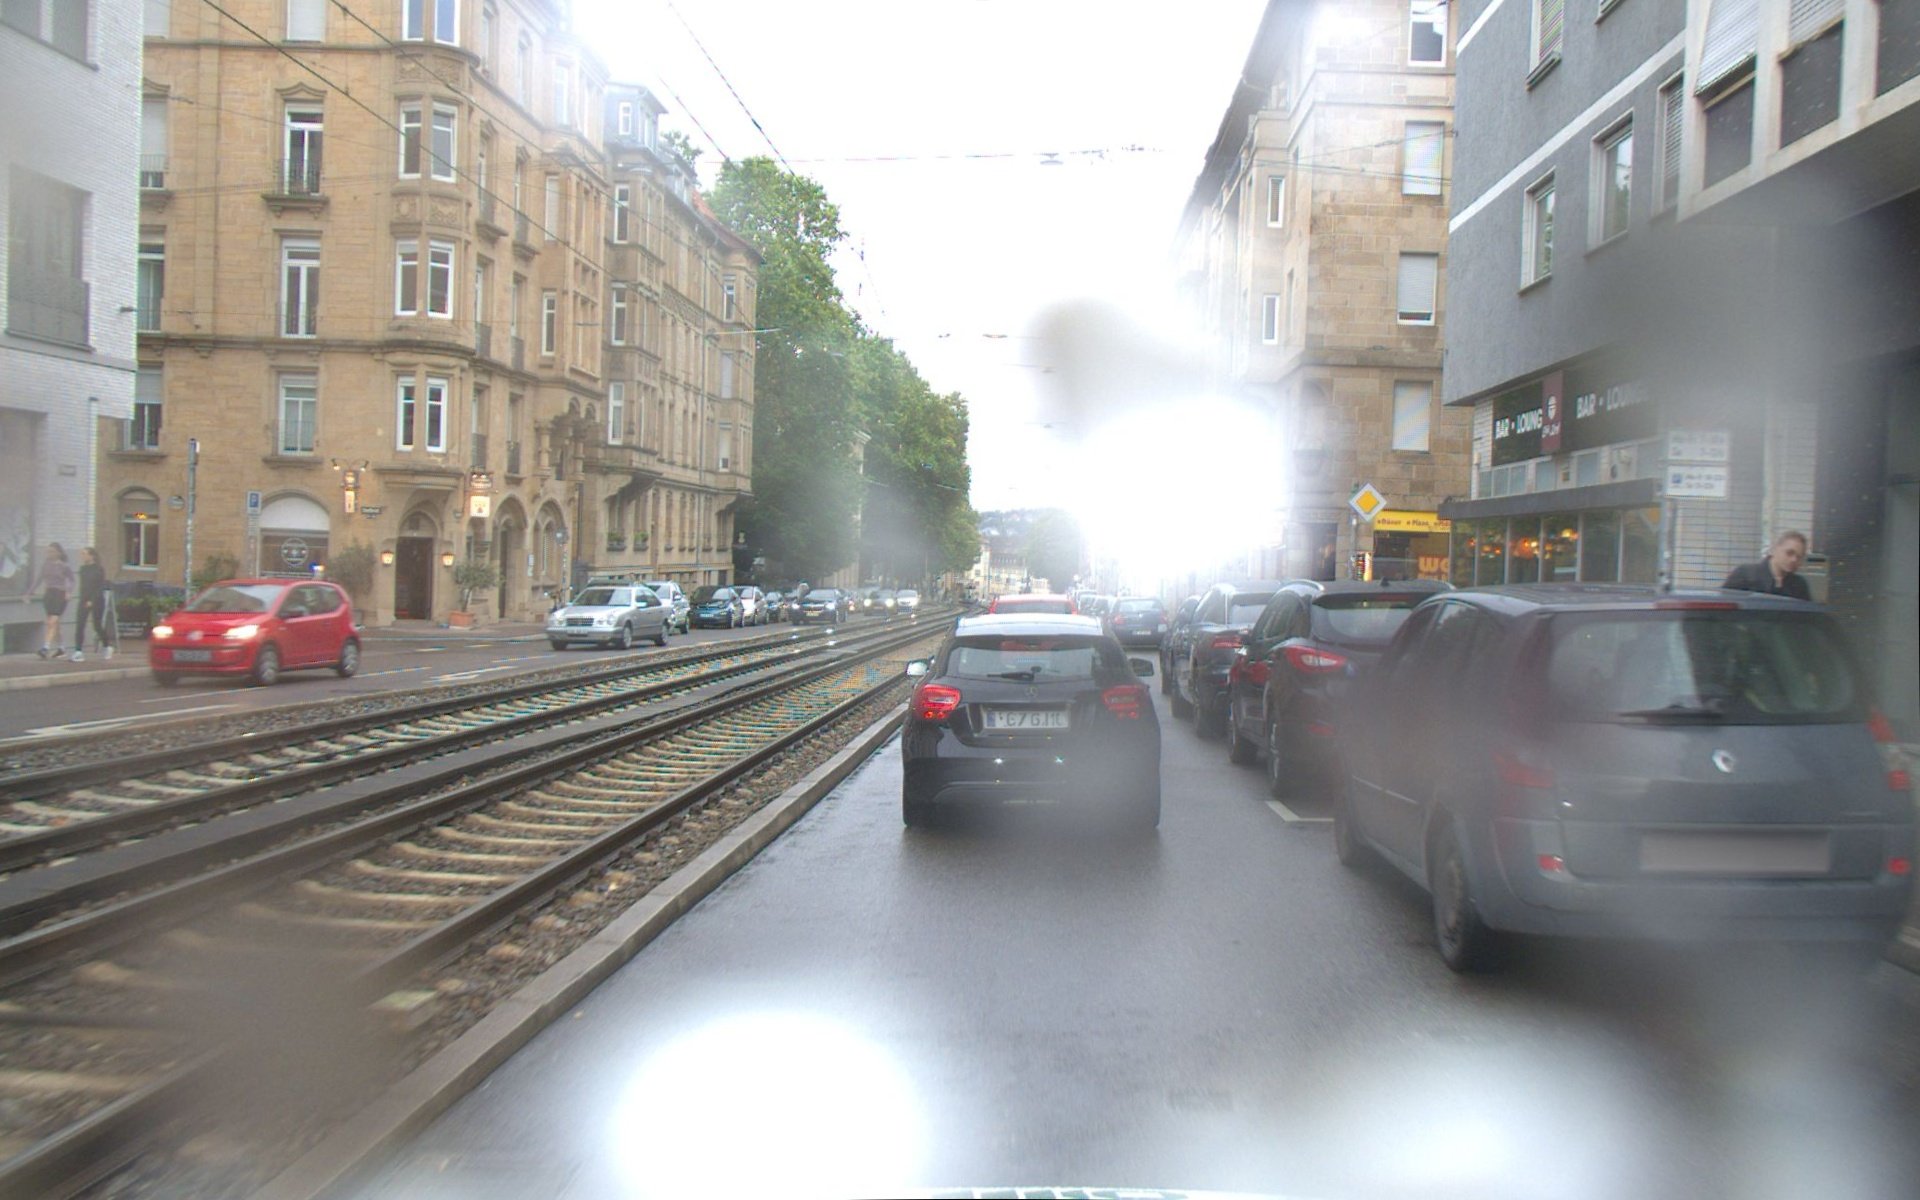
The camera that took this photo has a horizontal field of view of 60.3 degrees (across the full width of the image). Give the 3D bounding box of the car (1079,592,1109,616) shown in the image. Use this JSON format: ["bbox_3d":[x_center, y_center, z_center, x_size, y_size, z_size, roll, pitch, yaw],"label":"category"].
[{"bbox_3d":[7.702,0.214,95.271,1.580,1.340,4.002,0,0,3],"label":"car"}]

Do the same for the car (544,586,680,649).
[{"bbox_3d":[-8.109,0.367,38.998,1.768,1.384,4.766,0,0,6],"label":"car"}]

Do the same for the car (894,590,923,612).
[{"bbox_3d":[-3.433,0.049,110.416,1.536,1.438,3.483,0,0,5],"label":"car"}]

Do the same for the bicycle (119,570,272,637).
[{"bbox_3d":[-18.849,0.086,40.888,3.087,1.612,1.595,0,0,-9],"label":"bicycle"}]

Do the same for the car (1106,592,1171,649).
[{"bbox_3d":[4.975,0.536,46.365,1.588,1.511,4.002,0,0,3],"label":"car"}]

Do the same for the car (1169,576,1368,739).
[{"bbox_3d":[3.517,0.587,19.643,1.713,1.699,4.705,0,0,3],"label":"car"}]

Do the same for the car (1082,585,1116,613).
[{"bbox_3d":[6.871,-0.080,81.960,1.580,1.340,4.002,0,0,3],"label":"car"}]

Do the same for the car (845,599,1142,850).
[{"bbox_3d":[0.367,0.778,12.447,1.827,1.477,4.002,2,1,5],"label":"car"}]

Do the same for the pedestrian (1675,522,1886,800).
[{"bbox_3d":[5.564,0.393,11.284,0.925,1.800,1.015,1,0,1],"label":"pedestrian"}]

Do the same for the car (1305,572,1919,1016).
[{"bbox_3d":[2.983,0.685,8.324,1.728,1.586,4.747,0,0,3],"label":"car"}]

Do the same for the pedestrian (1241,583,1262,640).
[{"bbox_3d":[7.719,0.295,43.766,0.445,1.492,0.611,1,0,3],"label":"pedestrian"}]

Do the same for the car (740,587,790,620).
[{"bbox_3d":[-8.613,0.130,73.182,1.536,1.438,3.483,0,0,5],"label":"car"}]

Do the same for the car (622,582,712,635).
[{"bbox_3d":[-9.375,0.251,53.223,1.768,1.625,4.528,0,0,5],"label":"car"}]

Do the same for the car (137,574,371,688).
[{"bbox_3d":[-10.087,0.401,23.916,1.645,1.523,3.521,0,0,5],"label":"car"}]

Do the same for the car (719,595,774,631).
[{"bbox_3d":[-8.668,0.516,67.343,1.536,1.438,3.483,0,0,5],"label":"car"}]

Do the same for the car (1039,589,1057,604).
[{"bbox_3d":[7.995,-0.328,150.407,1.580,1.340,4.002,0,0,3],"label":"car"}]

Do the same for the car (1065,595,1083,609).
[{"bbox_3d":[11.019,0.177,159.776,1.580,1.340,4.002,2,0,3],"label":"car"}]

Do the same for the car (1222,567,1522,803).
[{"bbox_3d":[3.309,0.601,14.044,1.648,1.699,4.124,0,0,2],"label":"car"}]

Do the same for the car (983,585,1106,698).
[{"bbox_3d":[1.231,0.543,24.360,1.615,1.477,4.002,2,1,3],"label":"car"}]

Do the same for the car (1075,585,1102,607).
[{"bbox_3d":[7.939,-0.283,102.681,1.580,1.340,4.002,0,0,3],"label":"car"}]

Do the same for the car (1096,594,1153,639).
[{"bbox_3d":[5.124,0.494,51.749,1.580,1.340,4.002,0,0,3],"label":"car"}]

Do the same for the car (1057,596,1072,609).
[{"bbox_3d":[11.514,0.293,181.802,1.580,1.340,4.002,0,0,3],"label":"car"}]

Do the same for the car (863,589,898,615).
[{"bbox_3d":[-4.510,0.107,93.700,1.536,1.438,3.483,0,0,5],"label":"car"}]

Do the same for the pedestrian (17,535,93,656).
[{"bbox_3d":[-13.821,-0.057,25.277,0.627,1.818,0.924,0,-1,2],"label":"pedestrian"}]

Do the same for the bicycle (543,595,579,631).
[{"bbox_3d":[-11.613,0.361,48.165,0.586,1.018,2.079,0,0,-1],"label":"bicycle"}]

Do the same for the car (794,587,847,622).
[{"bbox_3d":[-5.750,0.179,68.556,1.659,1.413,3.483,0,0,5],"label":"car"}]

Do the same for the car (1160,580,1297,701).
[{"bbox_3d":[3.883,0.540,24.446,1.580,1.633,4.002,0,0,3],"label":"car"}]

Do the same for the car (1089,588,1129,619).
[{"bbox_3d":[6.546,0.143,72.956,1.580,1.340,4.002,0,0,3],"label":"car"}]

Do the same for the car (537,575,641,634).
[{"bbox_3d":[-10.137,0.103,45.485,1.686,1.568,3.936,0,0,5],"label":"car"}]

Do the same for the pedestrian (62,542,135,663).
[{"bbox_3d":[-13.139,0.049,25.255,0.616,1.818,0.882,0,-1,2],"label":"pedestrian"}]

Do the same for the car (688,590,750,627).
[{"bbox_3d":[-8.974,0.294,61.842,1.536,1.339,3.483,0,0,5],"label":"car"}]
